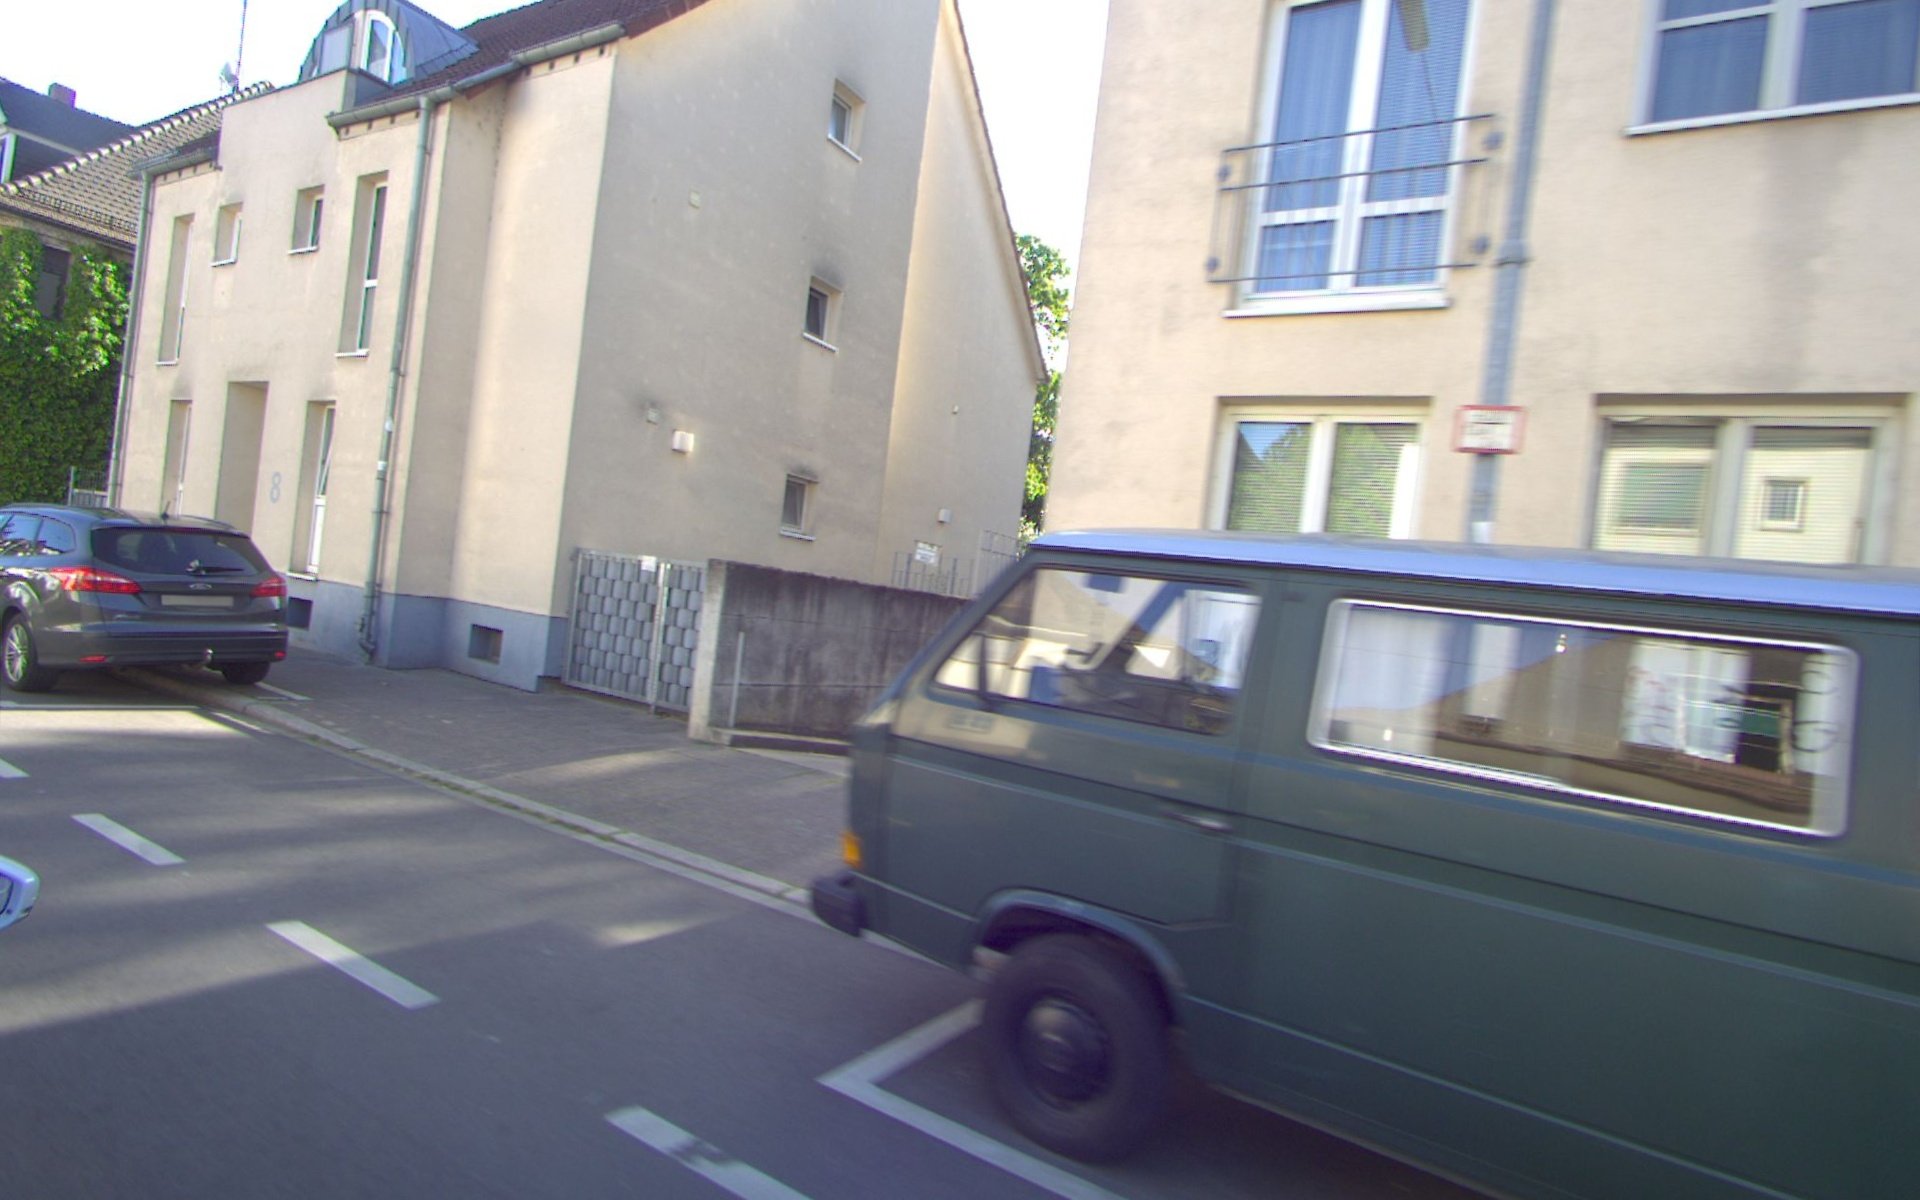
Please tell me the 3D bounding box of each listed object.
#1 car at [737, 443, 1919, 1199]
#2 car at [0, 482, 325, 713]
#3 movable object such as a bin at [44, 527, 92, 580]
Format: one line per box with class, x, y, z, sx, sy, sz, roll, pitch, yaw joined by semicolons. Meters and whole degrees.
car;1.775;0.803;3.023;4.486;2.010;1.910;7;-2;31
car;-8.008;-0.130;9.195;4.358;1.617;1.749;7;-2;30
movable object such as a bin;-17.035;-0.882;19.217;0.506;0.928;0.494;7;1;29
